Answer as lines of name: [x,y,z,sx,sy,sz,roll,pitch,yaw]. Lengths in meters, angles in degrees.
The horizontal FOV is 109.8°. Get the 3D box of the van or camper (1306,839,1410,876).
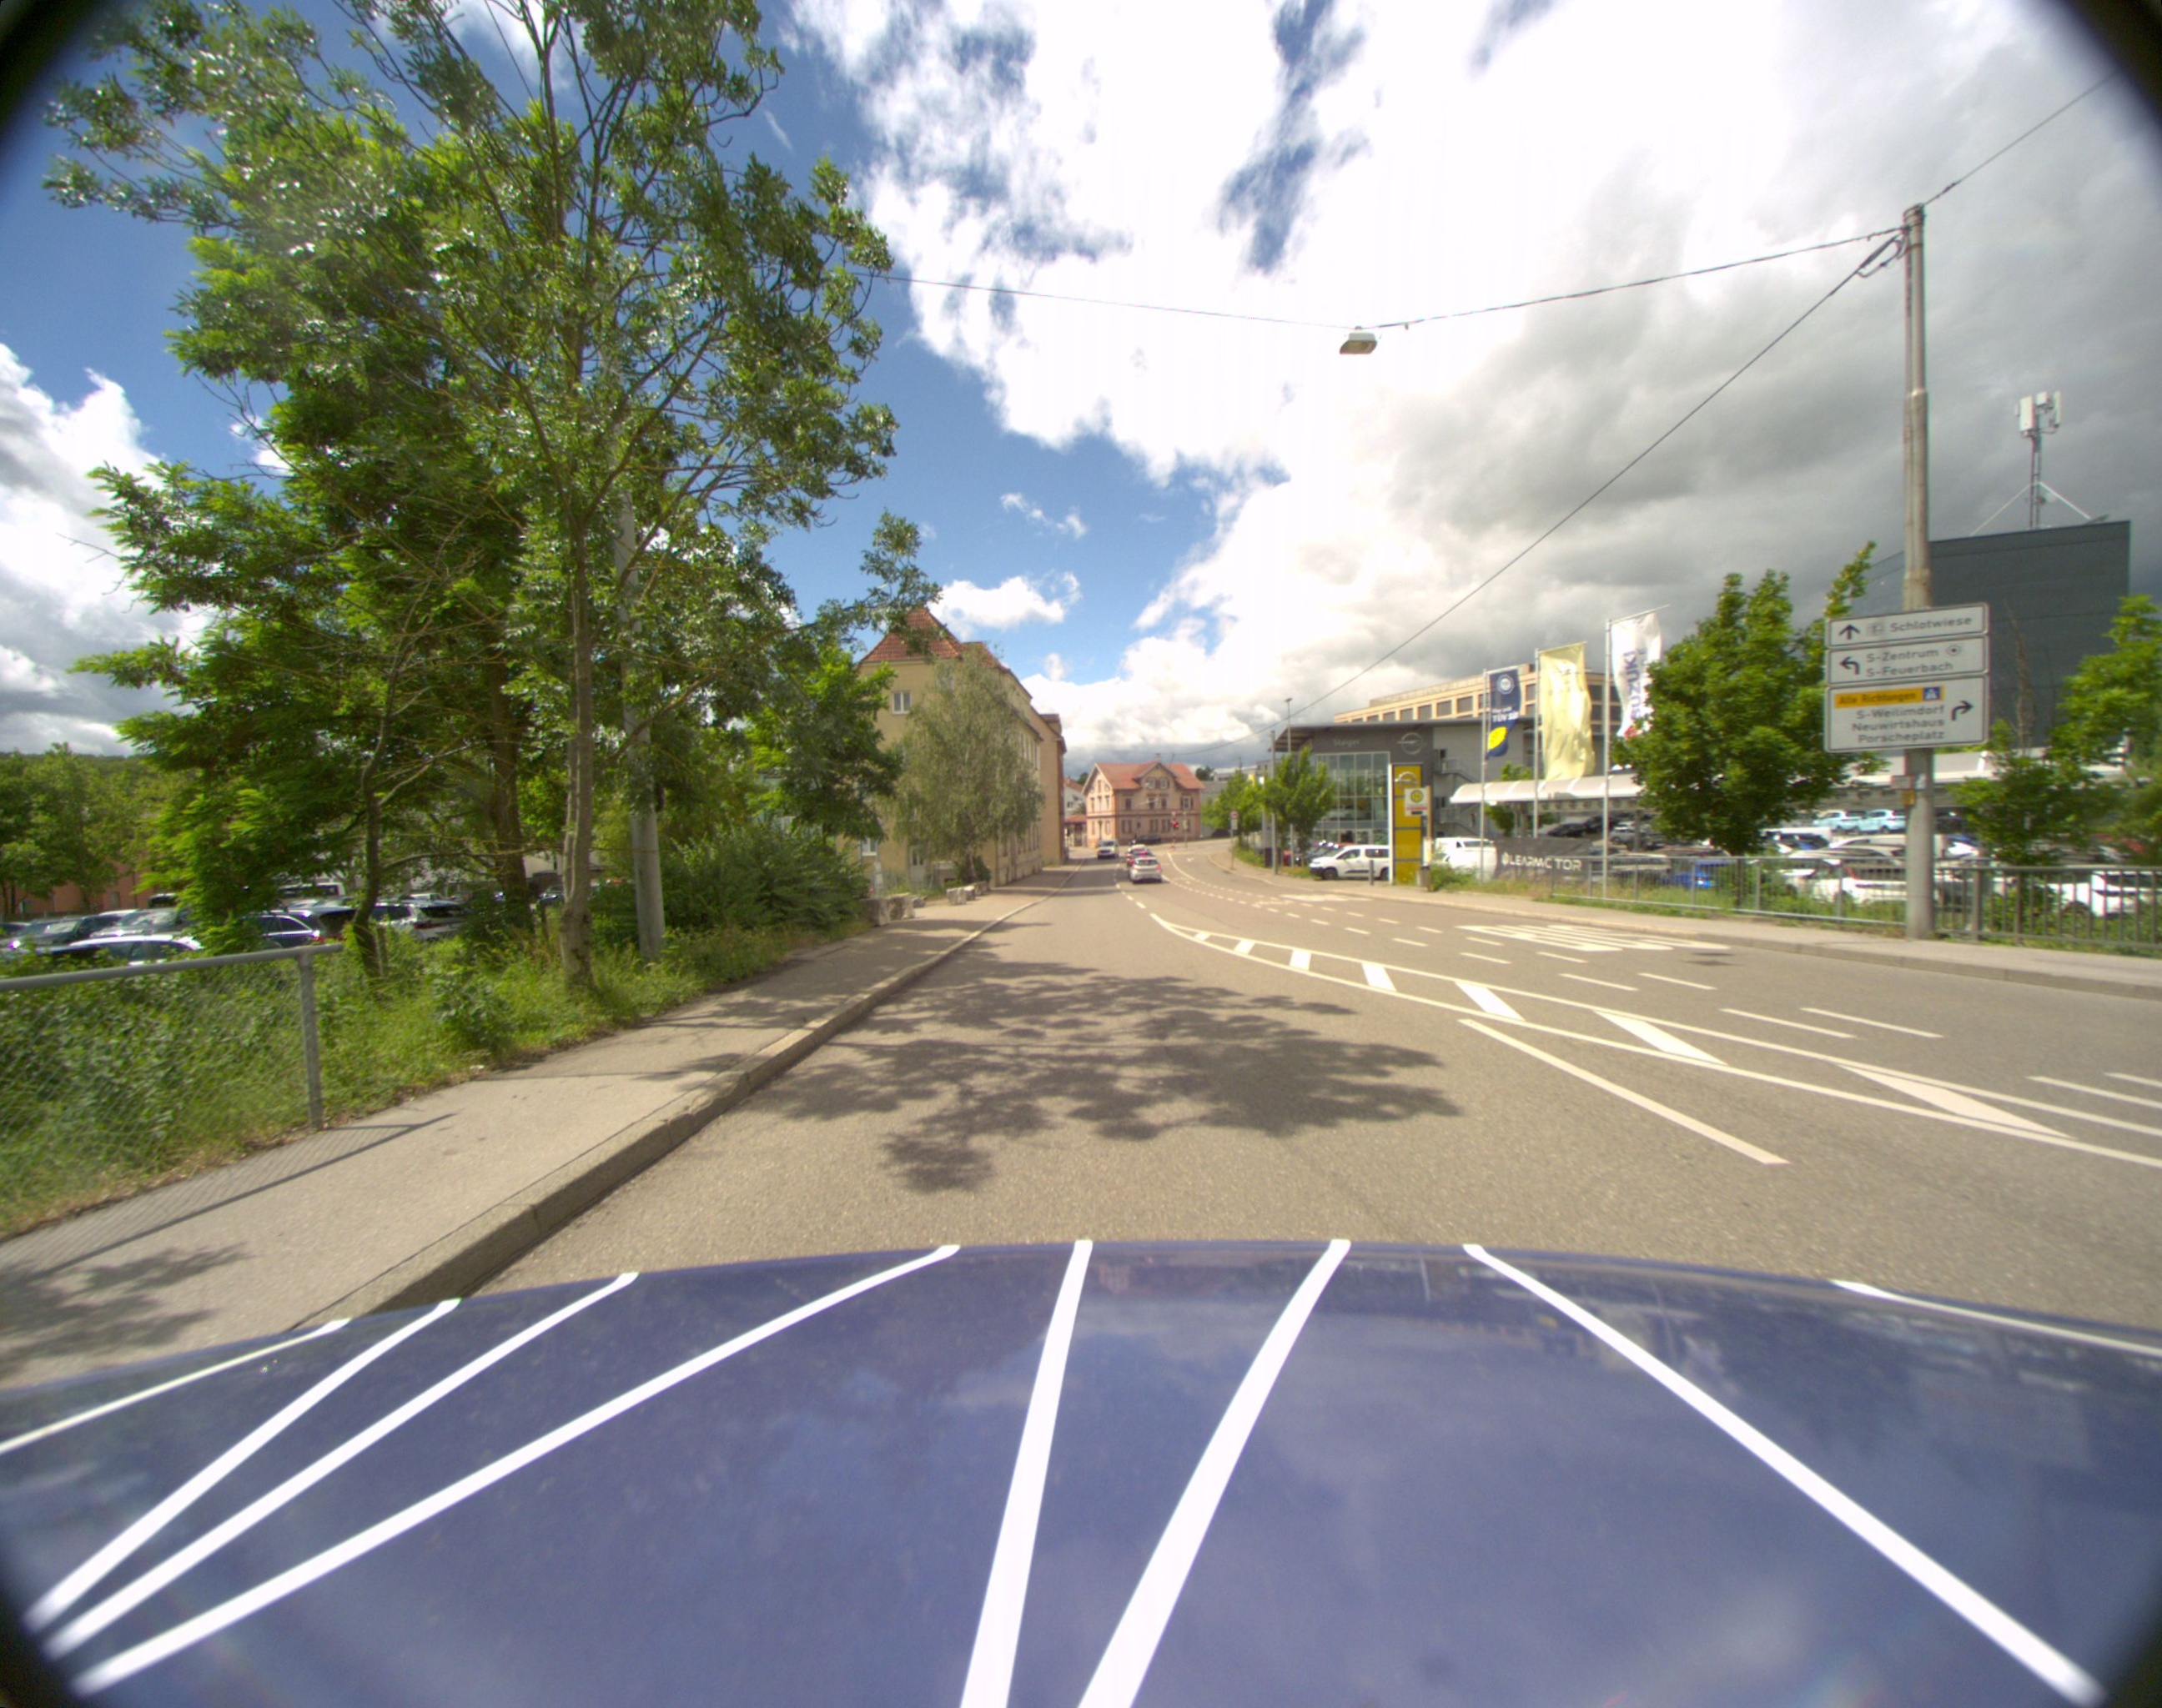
van or camper: [14.233,0.161,39.250,4.677,1.740,2.000,-1,2,6]

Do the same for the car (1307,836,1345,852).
car: [22.171,-0.922,68.825,3.017,1.366,1.518,-1,2,3]

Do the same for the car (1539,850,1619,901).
car: [17.375,0.703,26.678,1.813,1.458,4.005,-1,3,25]

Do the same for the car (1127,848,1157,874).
car: [4.007,0.436,50.505,1.723,1.476,3.321,-4,3,1]

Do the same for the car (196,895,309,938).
car: [-36.270,2.691,33.404,1.874,1.379,3.710,-4,2,-23]

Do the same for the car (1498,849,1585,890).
car: [19.911,0.611,32.797,4.006,1.458,1.813,-4,3,-36]

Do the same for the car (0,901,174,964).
car: [-36.188,2.764,27.545,1.872,1.660,4.344,-3,2,-12]

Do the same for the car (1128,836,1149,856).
car: [5.416,-0.743,71.216,1.722,1.573,3.999,-4,3,6]

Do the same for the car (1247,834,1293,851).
car: [17.852,-1.084,71.979,3.995,1.489,1.813,-1,2,6]

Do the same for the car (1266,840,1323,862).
car: [15.885,-0.235,56.662,3.836,1.489,1.812,-1,2,2]

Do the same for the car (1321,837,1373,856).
car: [19.790,-0.570,56.658,3.323,1.366,1.517,-1,2,2]

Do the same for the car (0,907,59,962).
car: [-39.158,3.016,26.527,2.001,1.776,4.435,-6,3,-22]

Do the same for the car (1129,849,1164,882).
car: [3.809,0.631,44.632,1.723,1.573,3.998,-4,3,1]

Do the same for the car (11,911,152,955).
car: [-41.312,3.227,31.554,1.874,1.257,3.710,-4,2,-23]

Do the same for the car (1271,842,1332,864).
car: [15.617,-0.082,53.982,3.858,1.489,1.812,-1,2,1]

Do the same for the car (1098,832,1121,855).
car: [3.050,-1.151,80.056,1.998,1.982,4.989,-4,3,7]

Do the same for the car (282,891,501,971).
car: [-17.272,1.905,19.146,3.995,1.478,1.776,-5,3,8]

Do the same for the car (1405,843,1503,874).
car: [19.687,0.220,40.157,4.526,1.428,2.009,-2,2,-18]

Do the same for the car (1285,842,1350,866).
car: [15.946,0.013,51.452,3.823,1.489,1.812,-1,2,-1]

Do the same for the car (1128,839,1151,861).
car: [4.921,-0.367,63.640,1.722,1.573,4.317,-5,3,6]

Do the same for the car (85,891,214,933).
car: [-49.639,3.048,40.661,1.872,1.660,4.345,-3,2,-10]

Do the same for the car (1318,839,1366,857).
car: [20.503,-0.497,59.782,3.323,1.366,1.517,-1,2,2]

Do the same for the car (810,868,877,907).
car: [-11.391,1.572,36.716,1.720,1.383,4.141,-5,3,1]

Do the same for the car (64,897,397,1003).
car: [-17.773,1.947,16.147,4.351,1.660,1.869,-3,2,-11]

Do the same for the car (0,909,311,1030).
car: [-17.506,2.078,13.927,4.351,1.660,1.869,-3,2,-11]

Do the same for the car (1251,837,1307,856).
car: [16.709,-0.638,64.317,4.289,1.489,1.812,-1,2,3]

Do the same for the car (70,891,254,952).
car: [-33.963,2.423,28.304,1.872,1.660,4.345,-3,2,-10]

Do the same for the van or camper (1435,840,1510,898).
van or camper: [15.537,0.538,30.033,1.985,1.952,4.967,-2,2,34]

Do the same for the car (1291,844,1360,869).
car: [15.690,0.141,48.840,3.843,1.453,1.772,-1,2,0]

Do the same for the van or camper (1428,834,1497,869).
van or camper: [23.463,-0.212,46.919,1.998,2.002,4.685,-1,2,2]

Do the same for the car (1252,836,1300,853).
car: [17.772,-0.885,69.390,4.075,1.386,1.813,-1,2,6]

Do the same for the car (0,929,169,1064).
car: [-17.180,2.212,11.268,4.351,1.660,1.869,-3,2,-11]
